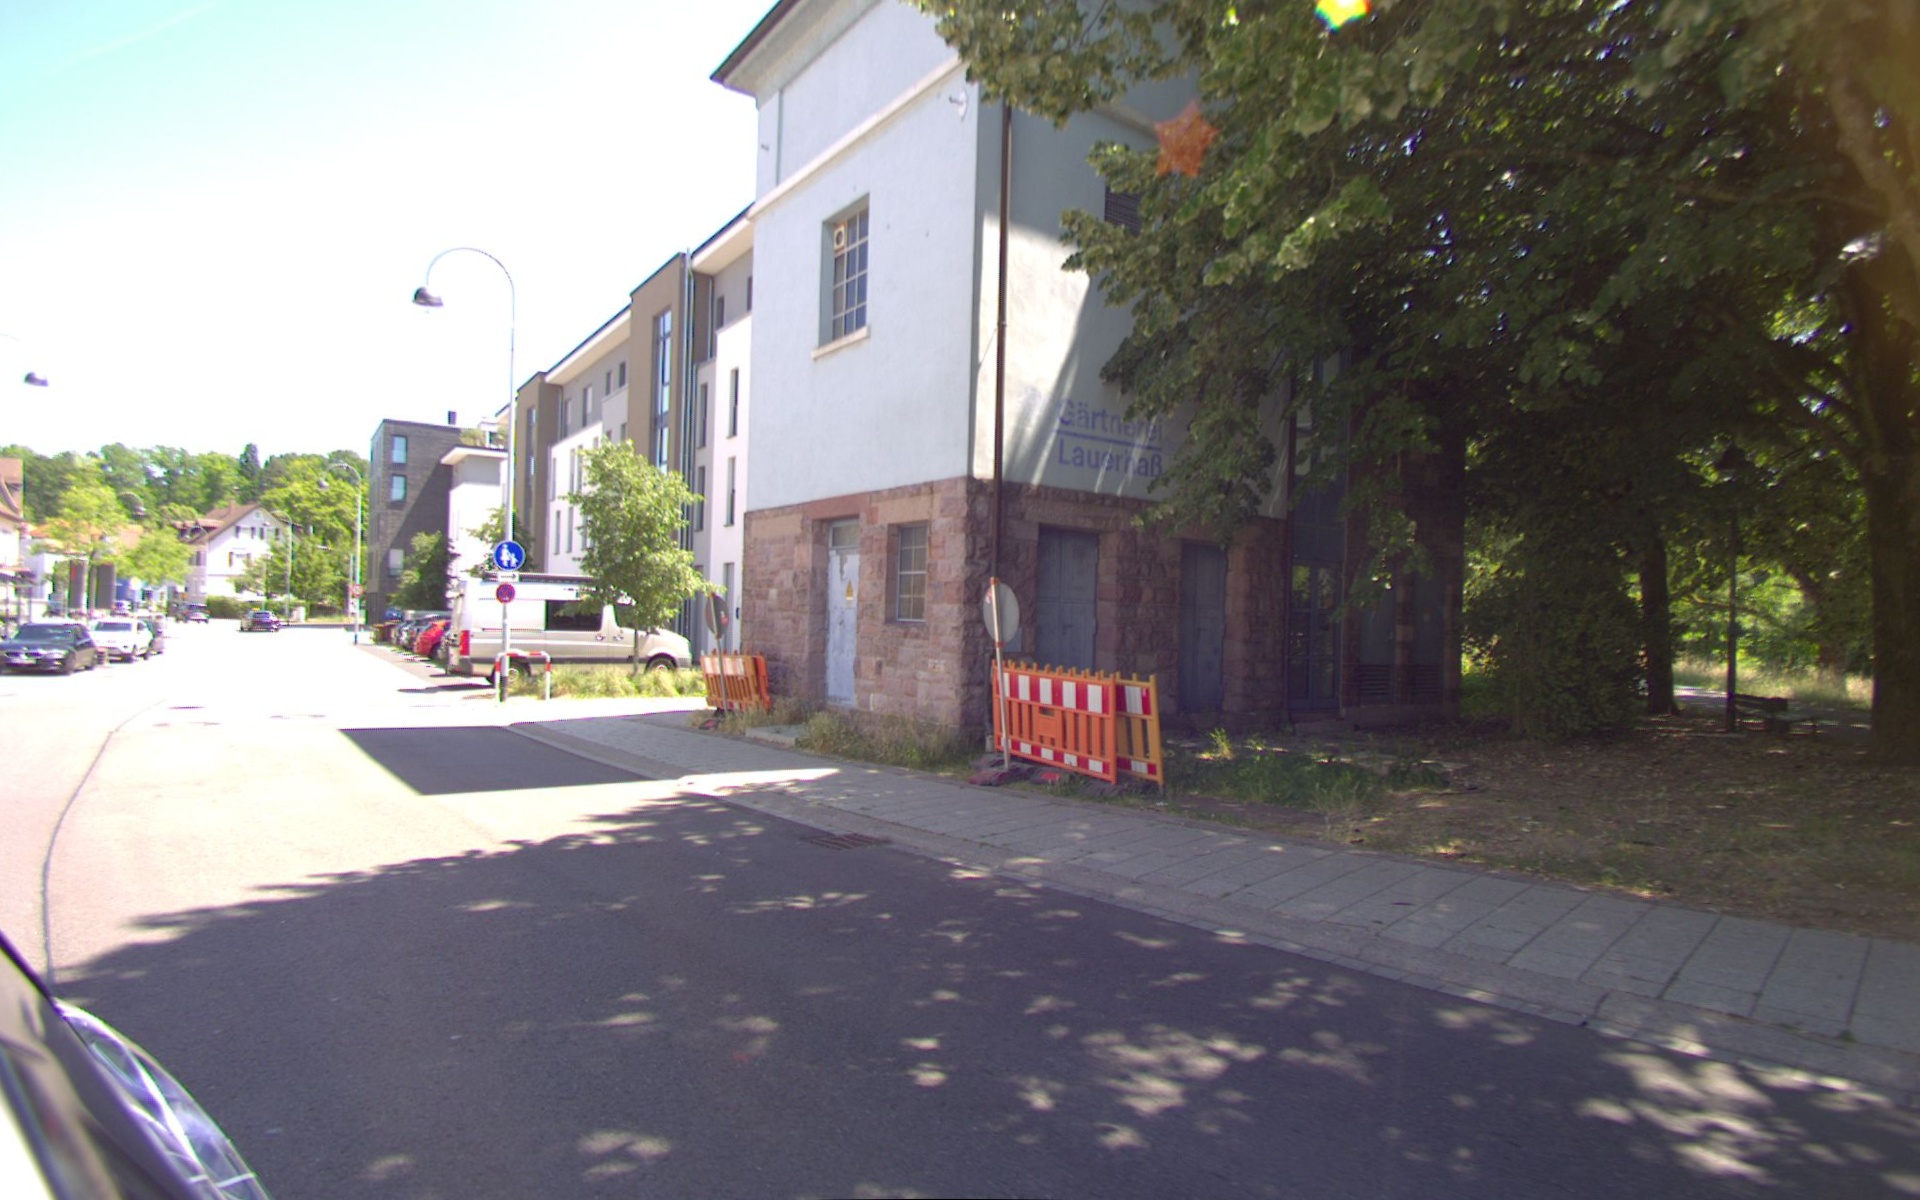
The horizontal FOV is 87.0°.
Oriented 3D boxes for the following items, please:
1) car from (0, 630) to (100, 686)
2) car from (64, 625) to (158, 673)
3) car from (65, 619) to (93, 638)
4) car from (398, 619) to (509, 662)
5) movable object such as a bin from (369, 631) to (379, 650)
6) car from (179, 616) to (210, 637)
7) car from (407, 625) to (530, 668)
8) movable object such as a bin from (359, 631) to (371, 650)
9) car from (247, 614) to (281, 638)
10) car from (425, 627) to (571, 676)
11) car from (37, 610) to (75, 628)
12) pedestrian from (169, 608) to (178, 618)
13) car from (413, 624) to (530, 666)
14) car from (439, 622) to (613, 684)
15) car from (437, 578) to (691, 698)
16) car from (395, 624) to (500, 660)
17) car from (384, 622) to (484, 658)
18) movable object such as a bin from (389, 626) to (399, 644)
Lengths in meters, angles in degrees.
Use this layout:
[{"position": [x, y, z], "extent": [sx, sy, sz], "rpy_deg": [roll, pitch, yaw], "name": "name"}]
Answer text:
[{"position": [-26.301, 1.618, 28.987], "extent": [1.700, 1.416, 4.622], "rpy_deg": [3, -2, -30], "name": "car"}, {"position": [-29.904, 1.702, 35.764], "extent": [1.713, 1.497, 4.067], "rpy_deg": [4, -2, -29], "name": "car"}, {"position": [-73.474, 2.391, 84.430], "extent": [1.658, 1.526, 3.391], "rpy_deg": [1, -2, -41], "name": "car"}, {"position": [-21.221, 1.668, 42.454], "extent": [3.977, 1.663, 2.006], "rpy_deg": [0, 0, -32], "name": "car"}, {"position": [-32.395, 2.247, 55.978], "extent": [0.398, 1.005, 0.557], "rpy_deg": [2, -1, -36], "name": "movable object such as a bin"}, {"position": [-65.472, 2.245, 86.573], "extent": [1.788, 1.714, 4.081], "rpy_deg": [1, -2, -41], "name": "car"}, {"position": [-18.387, 1.690, 37.891], "extent": [3.977, 1.441, 2.006], "rpy_deg": [0, 0, -32], "name": "car"}, {"position": [-32.756, 2.241, 55.687], "extent": [0.476, 1.005, 0.589], "rpy_deg": [2, -1, -36], "name": "movable object such as a bin"}, {"position": [-48.662, 1.811, 70.734], "extent": [1.868, 1.565, 4.810], "rpy_deg": [0, -1, -36], "name": "car"}, {"position": [-15.534, 1.691, 34.134], "extent": [4.146, 1.448, 1.889], "rpy_deg": [0, 0, -39], "name": "car"}, {"position": [-83.191, 1.765, 93.126], "extent": [4.316, 1.484, 1.714], "rpy_deg": [1, -3, 37], "name": "car"}, {"position": [-82.614, 1.363, 106.314], "extent": [0.566, 1.067, 0.591], "rpy_deg": [1, -1, 35], "name": "pedestrian"}, {"position": [-19.446, 1.761, 40.321], "extent": [3.977, 1.508, 2.006], "rpy_deg": [0, 0, -32], "name": "car"}, {"position": [-12.744, 1.491, 29.792], "extent": [4.394, 1.603, 2.005], "rpy_deg": [0, 0, -35], "name": "car"}, {"position": [-10.042, 0.878, 25.838], "extent": [5.689, 2.753, 2.298], "rpy_deg": [0, 0, -34], "name": "car"}, {"position": [-22.603, 1.814, 44.638], "extent": [3.933, 1.432, 1.915], "rpy_deg": [0, 0, -34], "name": "car"}, {"position": [-24.310, 1.826, 46.772], "extent": [3.933, 1.527, 2.005], "rpy_deg": [0, 0, -33], "name": "car"}, {"position": [-31.592, 1.954, 56.467], "extent": [0.398, 1.005, 0.557], "rpy_deg": [2, -1, -36], "name": "movable object such as a bin"}]
